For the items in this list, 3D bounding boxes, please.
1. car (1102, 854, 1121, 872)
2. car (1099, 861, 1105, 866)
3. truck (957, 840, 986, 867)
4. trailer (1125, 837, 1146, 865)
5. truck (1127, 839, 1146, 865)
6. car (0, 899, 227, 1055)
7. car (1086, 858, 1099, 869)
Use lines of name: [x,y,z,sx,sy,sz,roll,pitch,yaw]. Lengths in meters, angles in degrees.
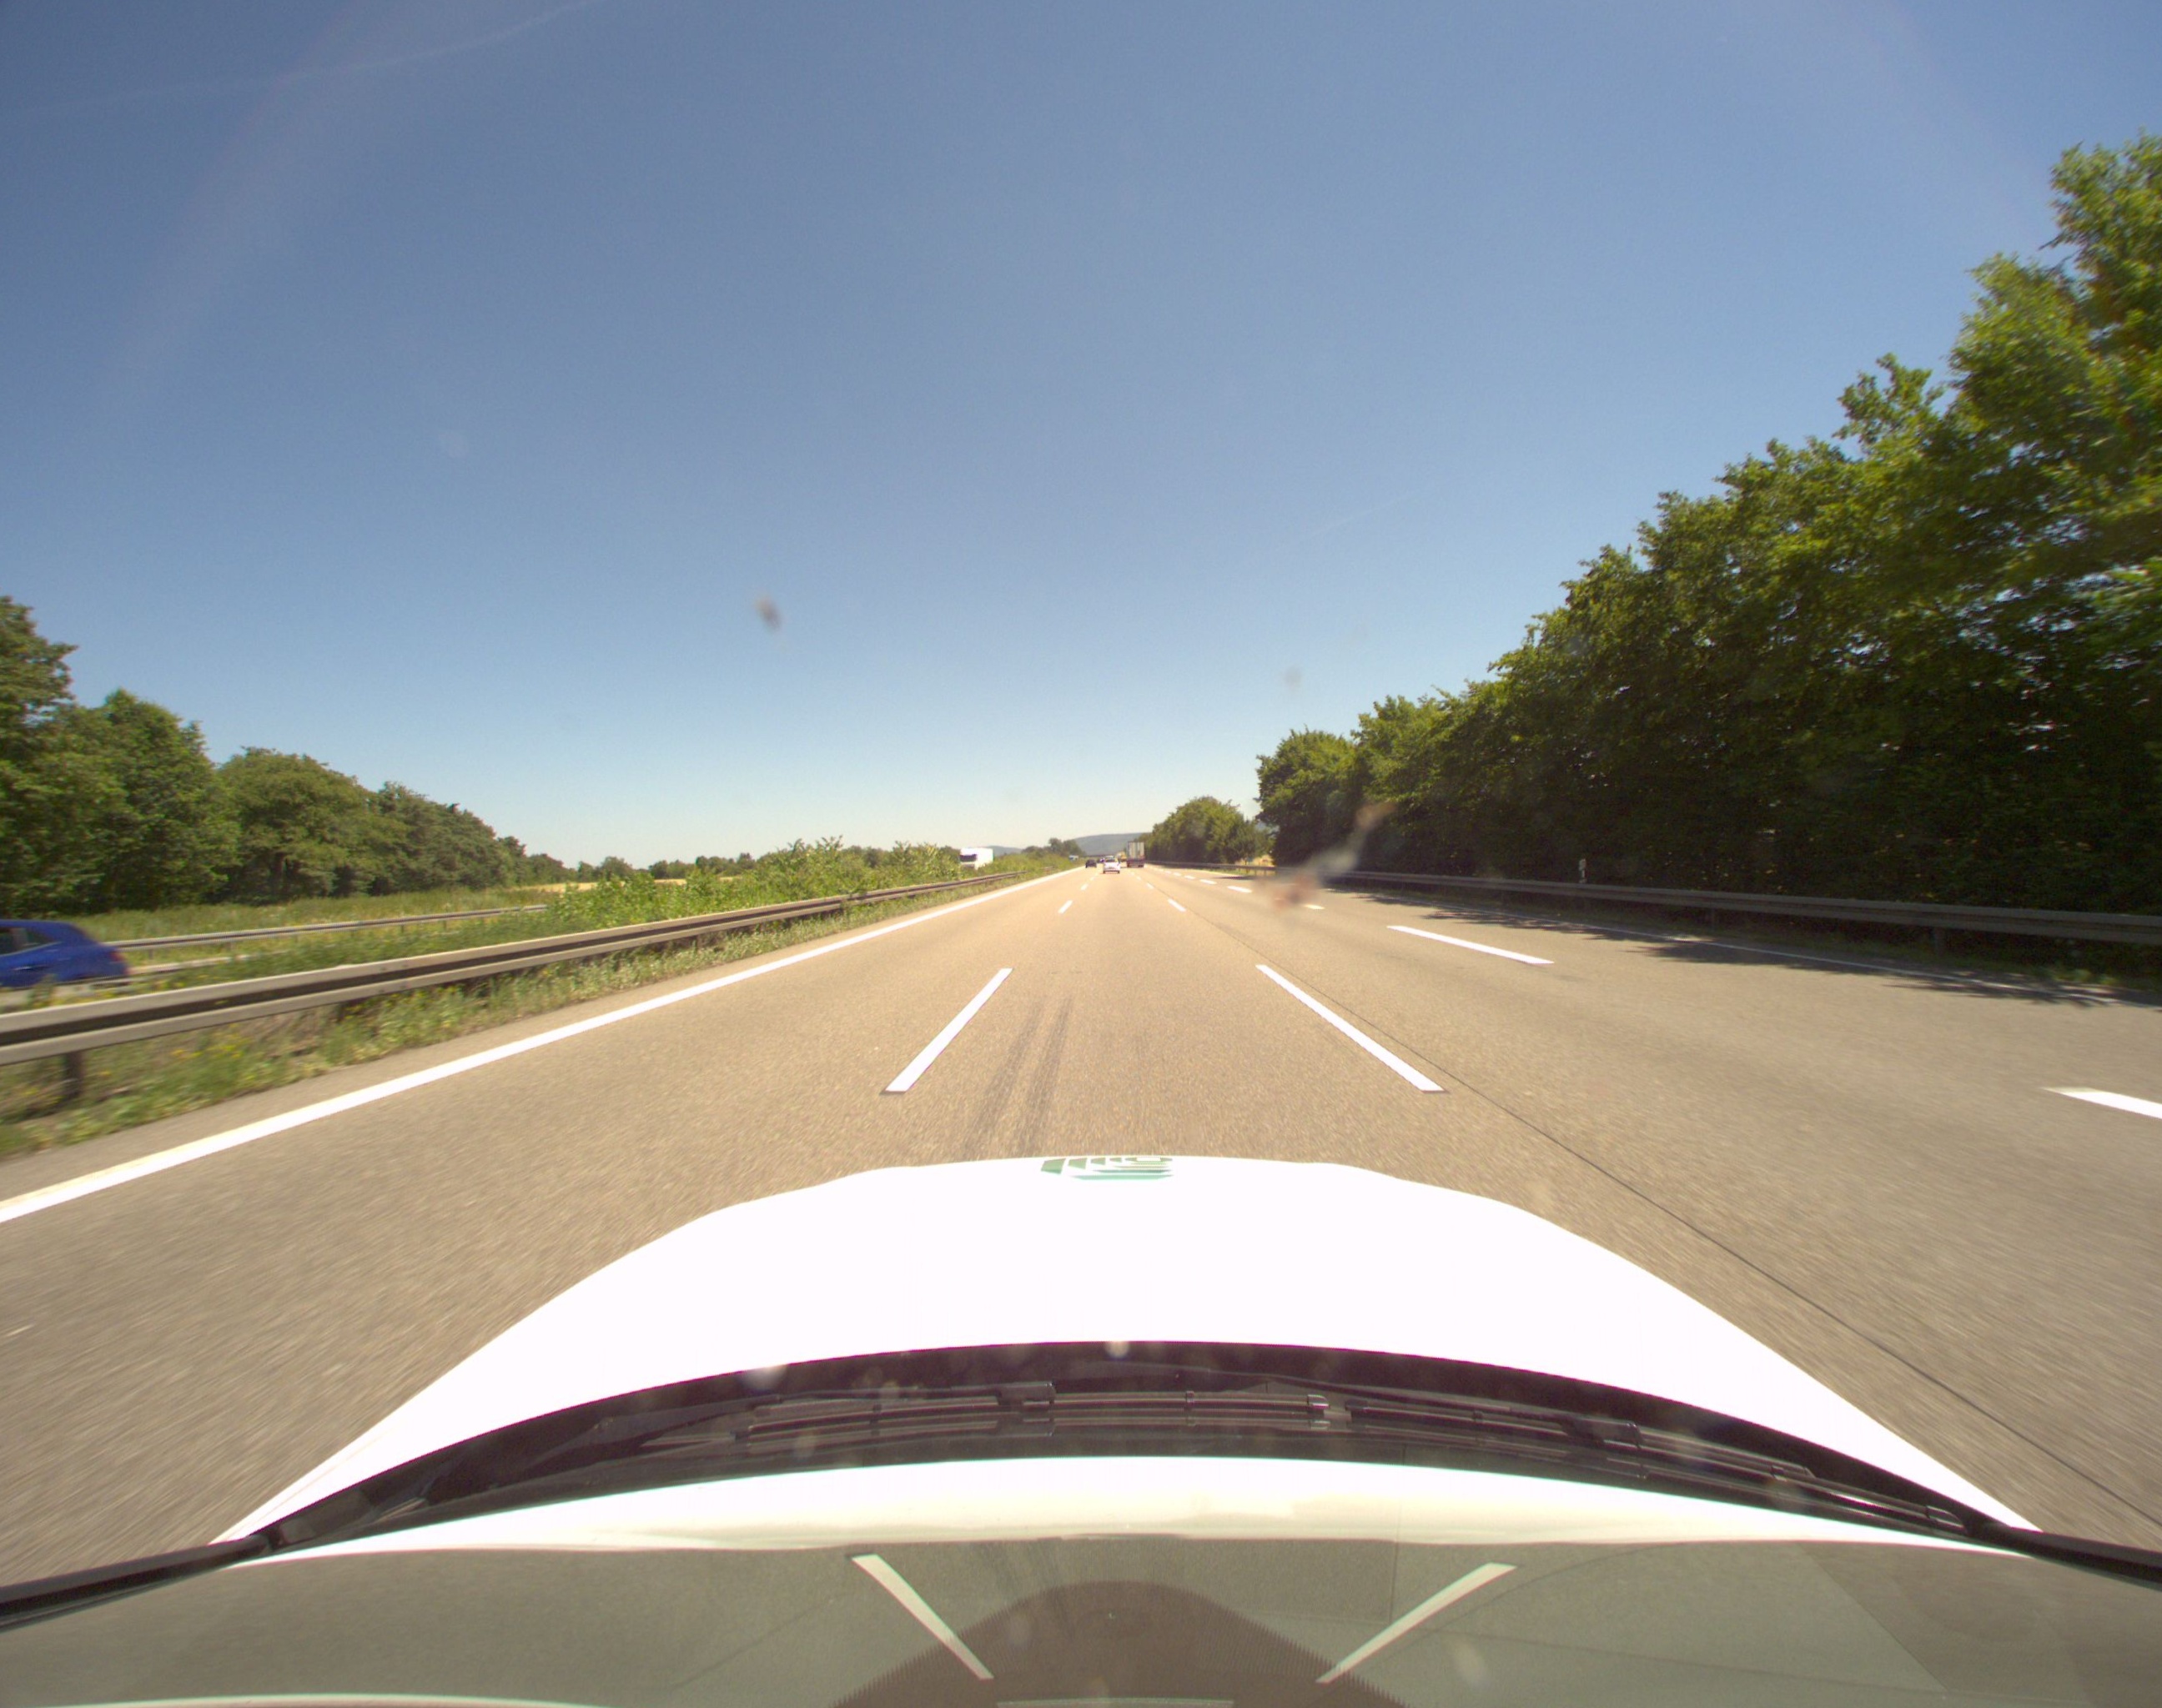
car: [3.069,0.903,82.141,1.726,1.684,4.001,-2,0,1]
car: [6.082,2.756,239.076,1.788,1.551,4.001,-1,-1,2]
truck: [-15.791,-0.045,118.136,3.168,3.699,6.038,0,0,2]
trailer: [8.928,-0.404,131.507,3.203,4.345,13.644,0,0,4]
truck: [9.487,-0.358,138.851,3.203,4.345,6.598,0,0,4]
car: [-12.507,1.420,9.038,1.708,1.563,4.001,-2,0,2]
car: [1.896,1.508,133.841,1.986,1.712,4.001,0,0,1]
